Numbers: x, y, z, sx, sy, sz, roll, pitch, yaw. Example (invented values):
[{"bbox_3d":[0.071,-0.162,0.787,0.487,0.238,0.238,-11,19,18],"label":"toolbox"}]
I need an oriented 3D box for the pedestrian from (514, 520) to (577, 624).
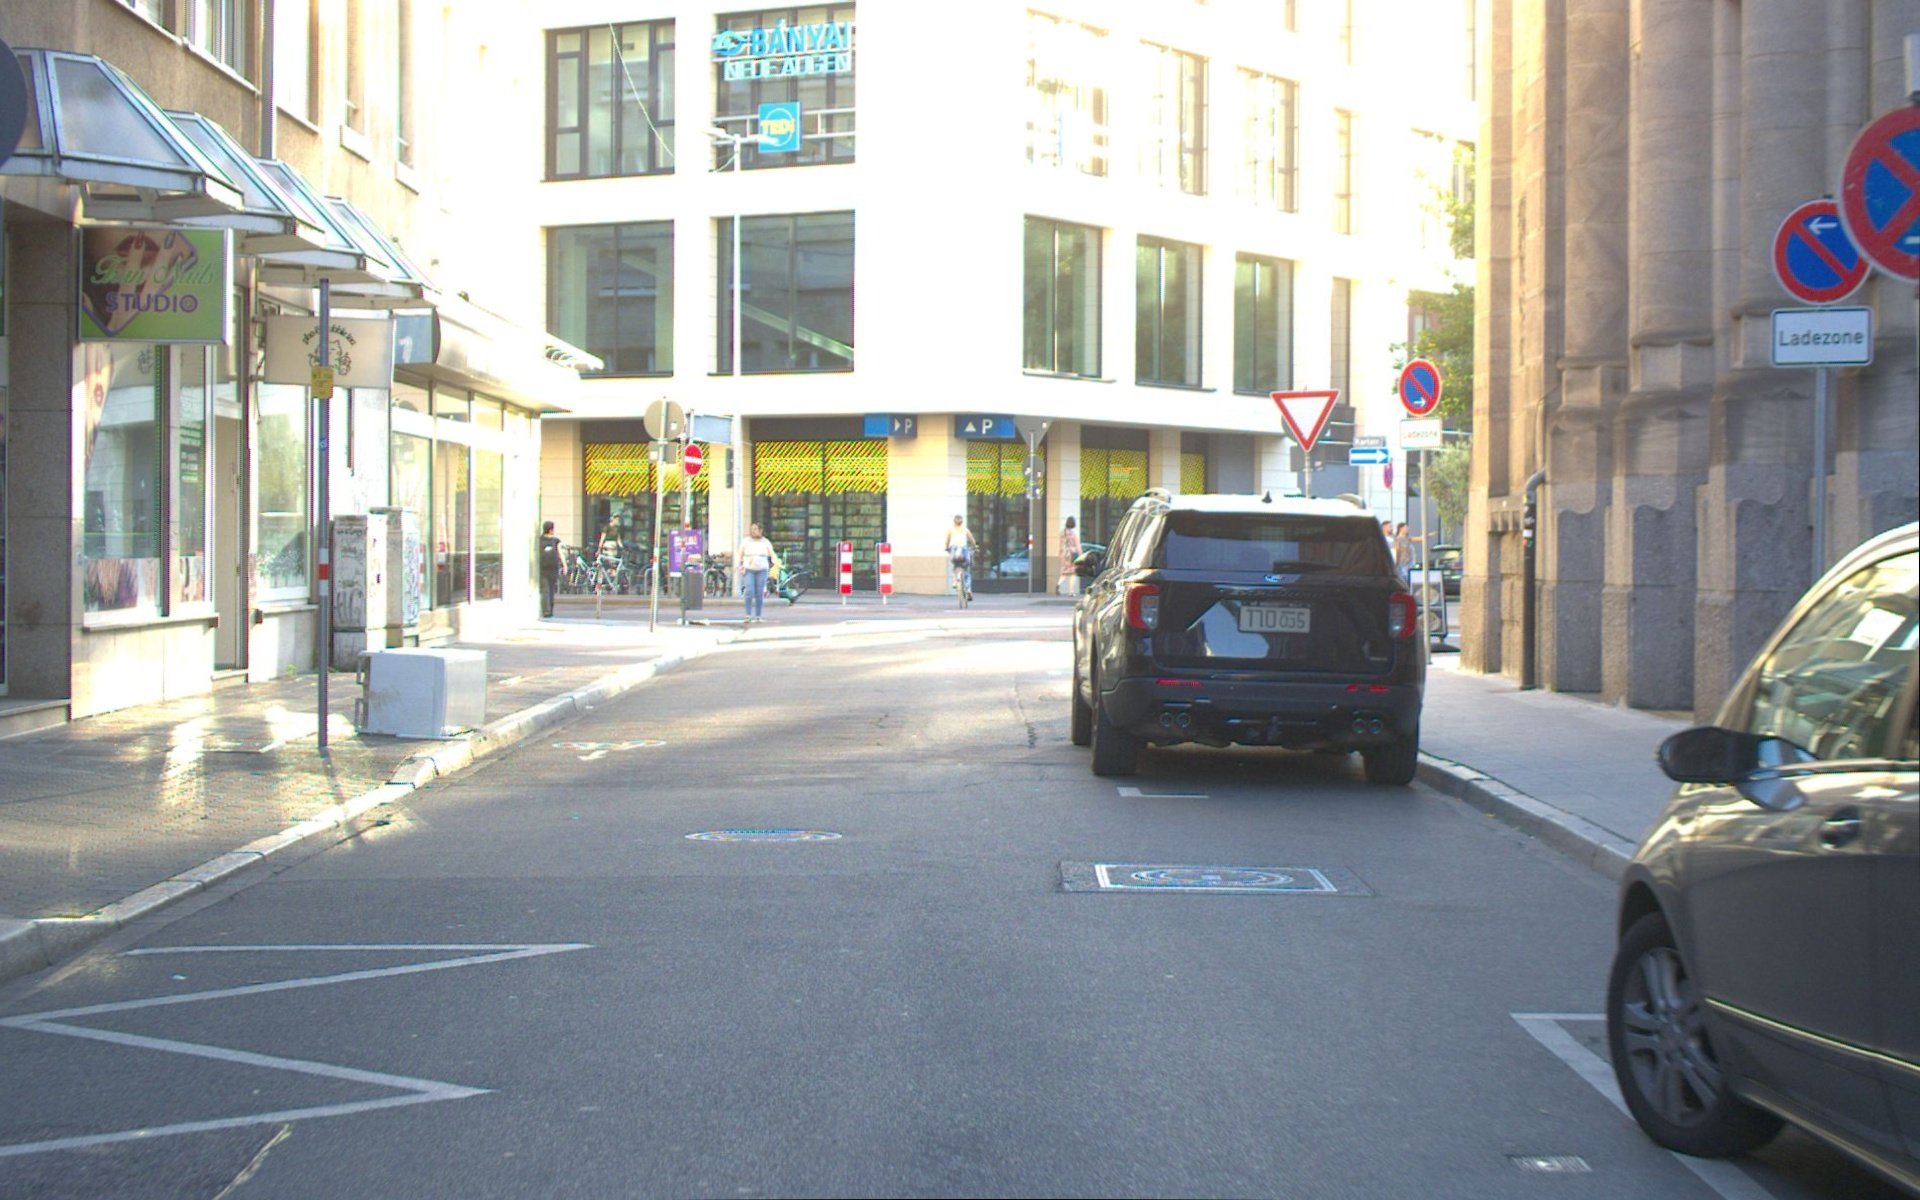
[{"bbox_3d":[-6.697,-0.451,55.528,0.869,1.652,0.619,1,1,-19],"label":"pedestrian"}]

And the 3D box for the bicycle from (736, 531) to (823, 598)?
[{"bbox_3d":[-3.446,-0.668,65.945,0.665,1.250,2.137,1,0,27],"label":"bicycle"}]

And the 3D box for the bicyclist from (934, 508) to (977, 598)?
[{"bbox_3d":[-0.087,-0.898,65.086,0.682,1.689,0.644,1,1,-11],"label":"bicyclist"}]

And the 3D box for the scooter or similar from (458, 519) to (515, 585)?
[{"bbox_3d":[-9.153,-0.926,66.488,0.387,1.256,1.269,1,0,29],"label":"scooter or similar"}]

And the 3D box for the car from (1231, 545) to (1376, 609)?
[{"bbox_3d":[8.055,-0.541,80.315,1.780,1.448,4.224,1,1,30],"label":"car"}]

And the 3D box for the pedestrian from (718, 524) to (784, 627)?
[{"bbox_3d":[-3.302,-0.388,54.293,0.802,1.607,0.735,0,0,-29],"label":"pedestrian"}]

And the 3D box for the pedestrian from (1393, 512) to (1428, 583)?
[{"bbox_3d":[11.797,-1.379,90.019,0.673,1.830,0.646,1,1,29],"label":"pedestrian"}]

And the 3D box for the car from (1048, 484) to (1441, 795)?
[{"bbox_3d":[1.710,0.185,22.356,1.993,1.777,4.935,1,1,-2],"label":"car"}]

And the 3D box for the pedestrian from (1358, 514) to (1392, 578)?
[{"bbox_3d":[10.940,-1.425,90.554,0.673,1.669,0.646,1,1,29],"label":"pedestrian"}]

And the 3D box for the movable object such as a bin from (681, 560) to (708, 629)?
[{"bbox_3d":[-4.101,-0.081,53.098,0.359,1.060,0.356,0,0,-10],"label":"movable object such as a bin"}]

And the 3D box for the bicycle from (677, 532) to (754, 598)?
[{"bbox_3d":[-4.725,-0.673,66.537,0.512,1.250,1.976,1,0,27],"label":"bicycle"}]

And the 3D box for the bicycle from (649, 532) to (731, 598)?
[{"bbox_3d":[-5.241,-0.666,66.810,0.512,1.250,1.975,1,0,31],"label":"bicycle"}]

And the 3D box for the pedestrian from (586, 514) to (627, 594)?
[{"bbox_3d":[-7.703,-1.001,74.883,0.635,1.717,0.845,0,1,-24],"label":"pedestrian"}]

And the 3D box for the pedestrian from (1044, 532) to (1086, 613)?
[{"bbox_3d":[2.286,-0.601,75.060,0.673,1.738,0.646,1,1,31],"label":"pedestrian"}]

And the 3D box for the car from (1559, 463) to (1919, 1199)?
[{"bbox_3d":[2.561,0.577,7.008,1.773,1.660,4.001,0,1,-3],"label":"car"}]

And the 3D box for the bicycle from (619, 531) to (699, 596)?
[{"bbox_3d":[-5.883,-0.709,67.289,0.512,1.250,1.975,1,0,29],"label":"bicycle"}]

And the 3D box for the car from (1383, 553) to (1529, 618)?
[{"bbox_3d":[12.705,-0.378,87.863,1.887,1.592,4.680,1,1,33],"label":"car"}]

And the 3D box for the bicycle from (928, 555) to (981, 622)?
[{"bbox_3d":[-0.110,-0.223,65.138,0.610,1.250,1.979,1,0,-12],"label":"bicycle"}]

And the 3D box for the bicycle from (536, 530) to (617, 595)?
[{"bbox_3d":[-7.606,-0.744,68.314,0.512,1.250,1.975,1,0,29],"label":"bicycle"}]

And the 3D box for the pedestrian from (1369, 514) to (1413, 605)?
[{"bbox_3d":[8.068,-0.762,64.346,0.704,1.664,0.642,1,2,17],"label":"pedestrian"}]

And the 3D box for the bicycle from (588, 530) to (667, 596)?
[{"bbox_3d":[-6.548,-0.720,67.710,0.512,1.250,1.976,1,0,28],"label":"bicycle"}]

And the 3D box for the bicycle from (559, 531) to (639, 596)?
[{"bbox_3d":[-7.129,-0.720,68.000,0.512,1.250,1.975,1,0,29],"label":"bicycle"}]

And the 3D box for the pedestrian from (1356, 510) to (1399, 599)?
[{"bbox_3d":[7.937,-0.872,65.323,0.704,1.664,0.642,1,2,17],"label":"pedestrian"}]
